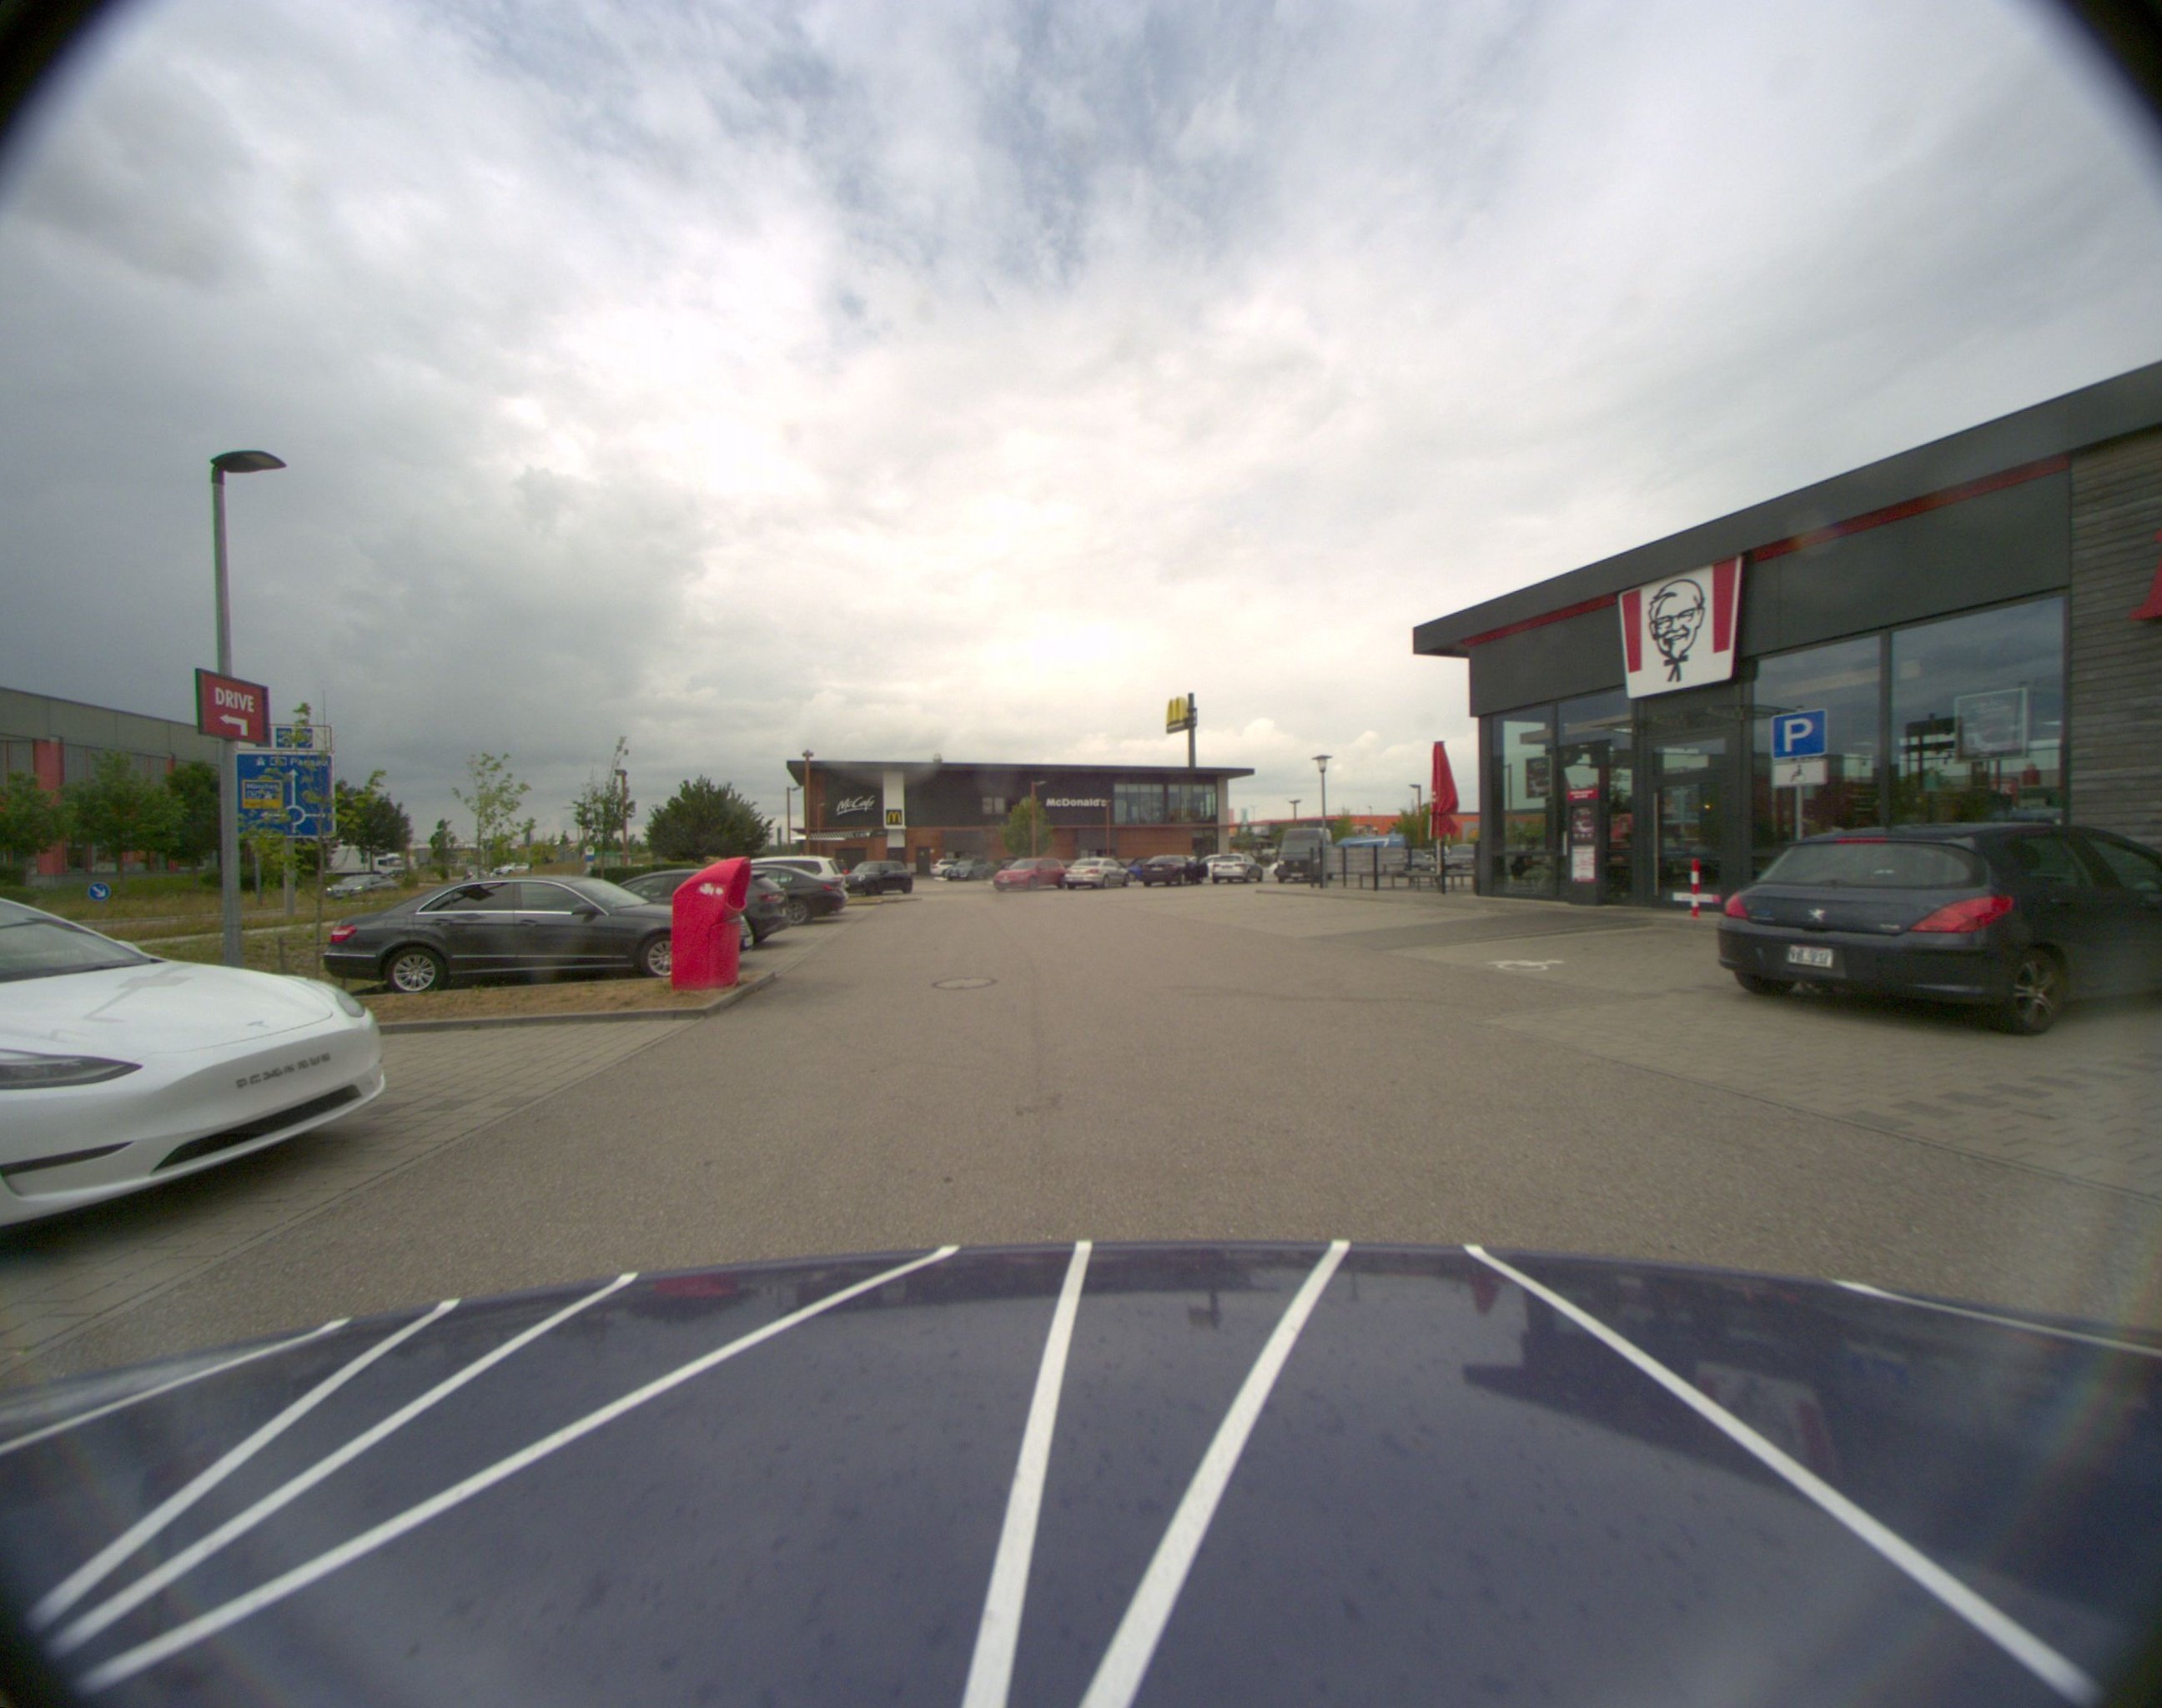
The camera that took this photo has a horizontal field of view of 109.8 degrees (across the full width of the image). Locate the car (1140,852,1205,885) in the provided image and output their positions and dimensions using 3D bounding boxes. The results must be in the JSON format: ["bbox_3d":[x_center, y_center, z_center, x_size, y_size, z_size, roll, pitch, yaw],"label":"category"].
[{"bbox_3d":[4.404,0.671,35.892,1.683,1.454,4.415,-2,-1,25],"label":"car"}]

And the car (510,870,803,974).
[{"bbox_3d":[-7.235,1.102,13.428,4.072,1.404,1.886,-3,1,-13],"label":"car"}]

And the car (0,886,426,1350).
[{"bbox_3d":[-6.120,1.075,3.336,4.545,1.532,1.924,-3,1,-6],"label":"car"}]

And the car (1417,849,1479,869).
[{"bbox_3d":[31.555,0.412,65.516,2.074,1.593,4.937,-1,1,-17],"label":"car"}]

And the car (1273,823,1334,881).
[{"bbox_3d":[11.133,-0.073,37.666,2.068,2.538,7.025,-2,-1,23],"label":"car"}]

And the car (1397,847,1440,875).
[{"bbox_3d":[18.053,0.342,40.763,1.829,1.403,4.006,-2,0,20],"label":"car"}]

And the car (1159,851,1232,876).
[{"bbox_3d":[7.044,0.601,46.756,4.101,1.458,1.783,-1,-2,23],"label":"car"}]

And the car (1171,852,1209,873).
[{"bbox_3d":[8.683,0.626,60.464,1.785,1.478,4.006,1,3,27],"label":"car"}]

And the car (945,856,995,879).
[{"bbox_3d":[-7.956,0.946,54.743,1.746,1.575,3.911,1,0,23],"label":"car"}]

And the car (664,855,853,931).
[{"bbox_3d":[-8.618,1.008,20.749,4.374,1.703,1.990,-3,1,-13],"label":"car"}]

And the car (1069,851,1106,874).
[{"bbox_3d":[0.498,0.669,62.257,1.754,1.743,3.993,0,0,-19],"label":"car"}]

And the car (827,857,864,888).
[{"bbox_3d":[-13.464,1.015,43.305,1.813,1.680,4.183,0,0,-20],"label":"car"}]

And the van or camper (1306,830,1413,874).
[{"bbox_3d":[19.077,-0.097,52.207,6.556,2.684,2.177,-2,-1,31],"label":"van or camper"}]

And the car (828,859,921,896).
[{"bbox_3d":[-8.636,0.954,32.141,1.683,1.403,3.937,-2,-1,23],"label":"car"}]

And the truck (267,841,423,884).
[{"bbox_3d":[-78.145,0.911,80.943,11.997,4.473,3.764,0,1,-8],"label":"truck"}]

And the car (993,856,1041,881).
[{"bbox_3d":[-4.634,1.028,55.545,1.995,1.739,4.006,0,-1,19],"label":"car"}]

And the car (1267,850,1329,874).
[{"bbox_3d":[14.055,0.537,49.218,3.565,1.445,1.846,-2,0,25],"label":"car"}]

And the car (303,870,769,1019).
[{"bbox_3d":[-7.045,1.110,10.415,4.742,1.448,1.909,-3,2,-10],"label":"car"}]

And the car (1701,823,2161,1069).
[{"bbox_3d":[7.558,0.567,6.312,3.942,1.478,1.756,-3,1,-16],"label":"car"}]

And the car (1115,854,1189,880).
[{"bbox_3d":[4.235,0.752,45.353,3.989,1.501,1.773,0,0,28],"label":"car"}]

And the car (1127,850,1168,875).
[{"bbox_3d":[5.157,0.628,58.737,1.893,1.653,4.264,1,3,23],"label":"car"}]

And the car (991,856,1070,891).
[{"bbox_3d":[-2.194,0.857,34.118,1.683,1.455,4.007,-2,-1,27],"label":"car"}]

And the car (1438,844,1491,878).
[{"bbox_3d":[20.873,0.369,41.541,1.995,1.718,4.904,0,0,20],"label":"car"}]

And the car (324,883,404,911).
[{"bbox_3d":[-41.814,2.488,44.457,1.756,1.482,4.124,-1,-1,-17],"label":"car"}]

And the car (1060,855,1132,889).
[{"bbox_3d":[0.762,0.782,34.505,1.749,1.403,4.467,-2,-1,22],"label":"car"}]

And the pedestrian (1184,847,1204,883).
[{"bbox_3d":[5.298,0.498,35.601,0.747,1.668,0.844,0,1,24],"label":"pedestrian"}]

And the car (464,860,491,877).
[{"bbox_3d":[-63.910,1.506,80.444,2.004,1.696,3.988,-1,2,-41],"label":"car"}]

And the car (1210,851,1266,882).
[{"bbox_3d":[7.822,0.593,37.616,1.683,1.443,4.007,-1,0,27],"label":"car"}]

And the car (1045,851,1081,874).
[{"bbox_3d":[-1.511,0.659,61.495,1.754,1.743,3.993,0,0,-19],"label":"car"}]

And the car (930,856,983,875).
[{"bbox_3d":[-10.190,0.918,62.055,4.003,1.497,1.786,0,0,-18],"label":"car"}]

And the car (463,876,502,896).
[{"bbox_3d":[-48.067,2.558,61.112,1.758,1.482,4.121,-1,-1,-28],"label":"car"}]

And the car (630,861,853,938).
[{"bbox_3d":[-7.954,1.021,18.280,4.517,1.458,1.945,-3,1,-13],"label":"car"}]
